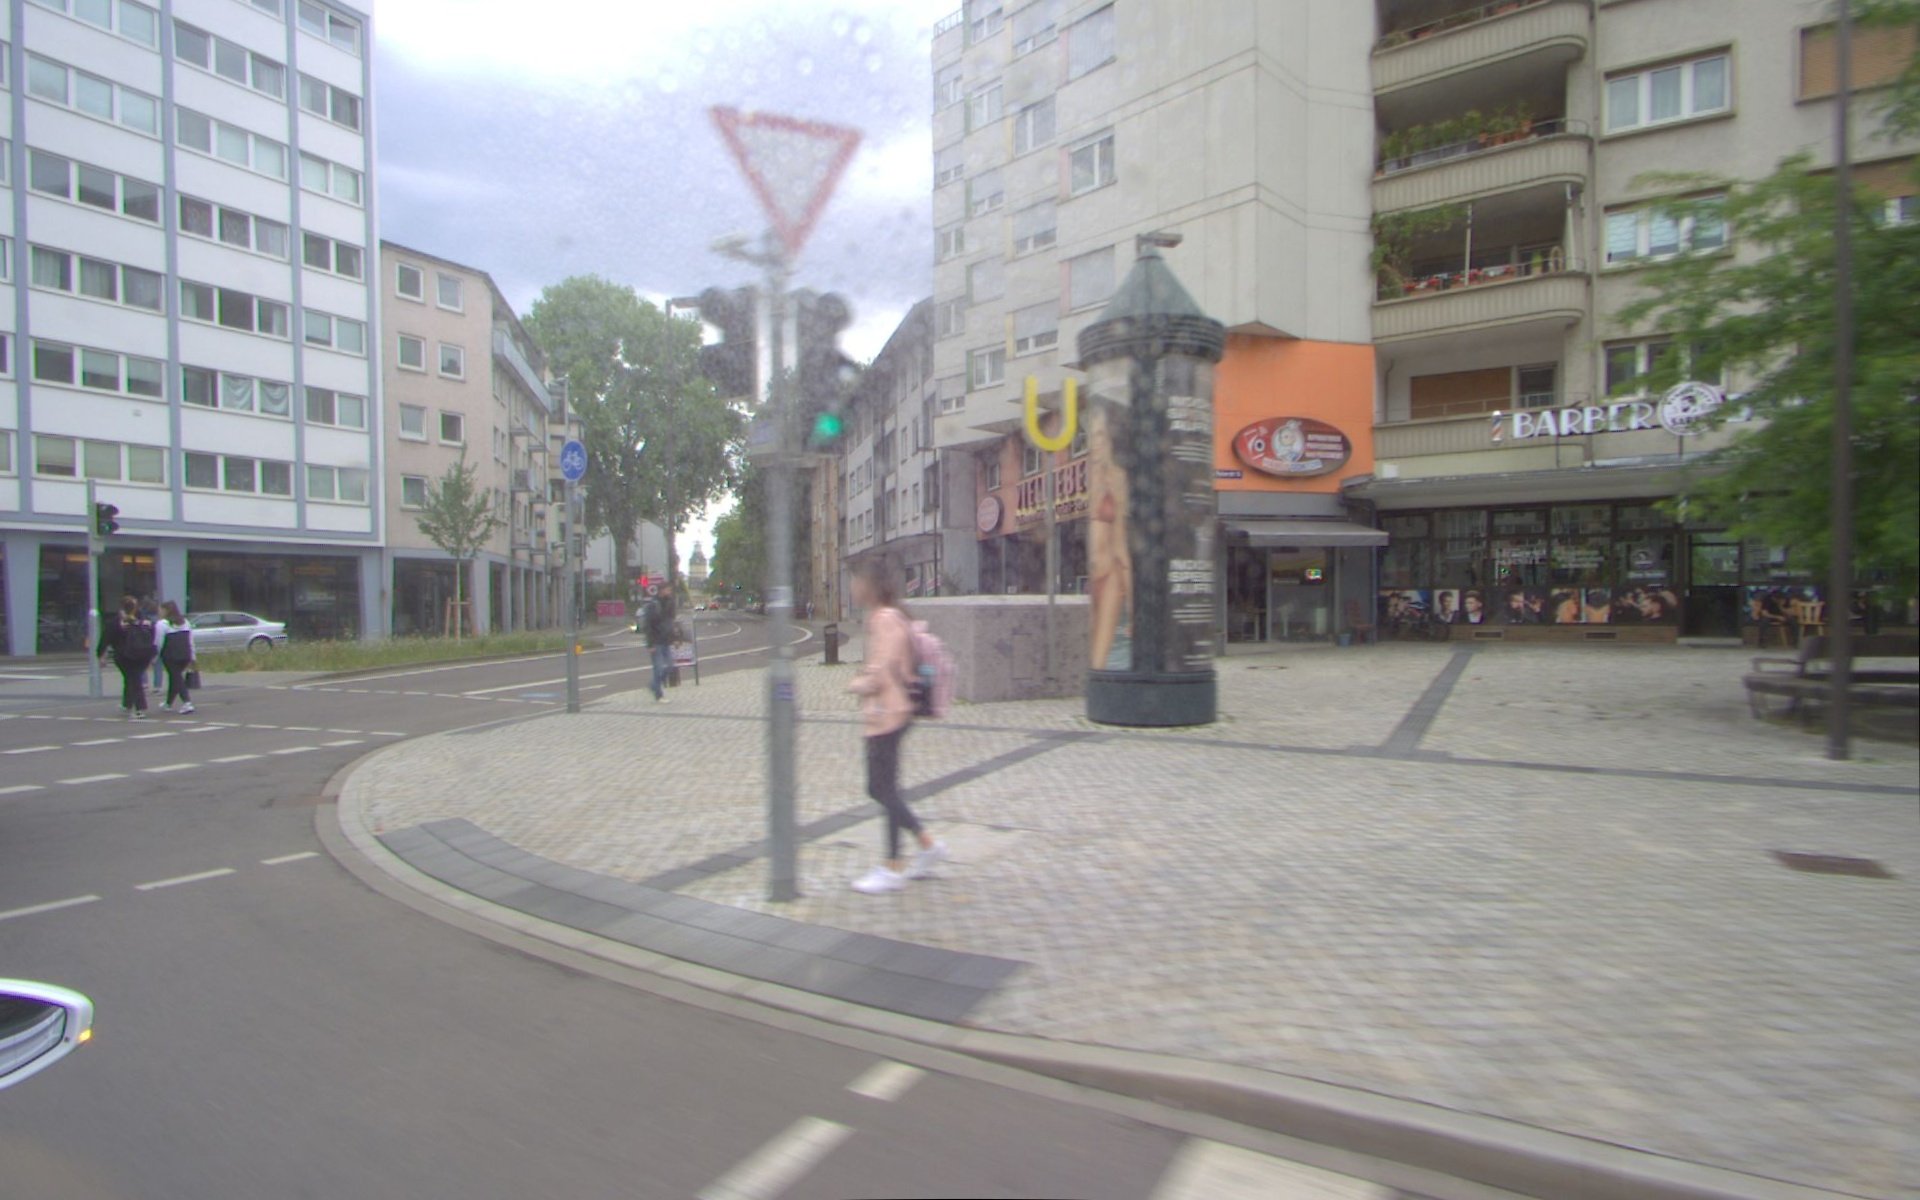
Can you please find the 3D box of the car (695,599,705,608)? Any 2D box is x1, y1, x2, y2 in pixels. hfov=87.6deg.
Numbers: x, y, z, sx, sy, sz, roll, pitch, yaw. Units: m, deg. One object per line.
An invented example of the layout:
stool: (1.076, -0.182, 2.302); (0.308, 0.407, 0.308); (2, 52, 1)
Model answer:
car: (-53.585, 0.705, 206.362); (1.835, 1.798, 3.978); (1, 0, -13)

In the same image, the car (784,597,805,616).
car: (-16.677, 0.614, 100.513); (1.835, 1.798, 3.978); (1, 0, -13)

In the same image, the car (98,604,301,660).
car: (-22.637, 0.905, 30.018); (1.721, 1.501, 4.548); (-1, 0, 27)

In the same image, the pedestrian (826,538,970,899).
pedestrian: (-0.318, 0.593, 5.304); (0.591, 1.784, 0.523); (0, 0, 22)

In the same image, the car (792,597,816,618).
car: (-14.512, 0.683, 93.028); (1.835, 1.798, 3.978); (1, 0, -13)

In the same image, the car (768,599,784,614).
car: (-23.088, 0.795, 125.651); (1.835, 1.798, 3.978); (1, 0, -13)

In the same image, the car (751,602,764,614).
car: (-31.872, 1.260, 157.764); (1.835, 1.798, 3.978); (1, 0, -13)

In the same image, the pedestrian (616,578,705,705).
pedestrian: (-4.678, 0.618, 15.640); (1.139, 1.888, 0.799); (0, 2, 40)

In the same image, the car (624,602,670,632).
car: (-16.876, 0.882, 54.196); (1.715, 1.501, 4.563); (-1, 0, -9)

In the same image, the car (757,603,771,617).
car: (-27.899, 1.412, 142.425); (1.835, 1.798, 3.978); (1, 0, -13)

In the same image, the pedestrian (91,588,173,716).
pedestrian: (-11.961, 0.737, 14.476); (0.766, 1.784, 0.622); (0, 0, 22)

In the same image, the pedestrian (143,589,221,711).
pedestrian: (-11.710, 0.737, 15.083); (0.766, 1.784, 0.622); (0, 0, 22)
